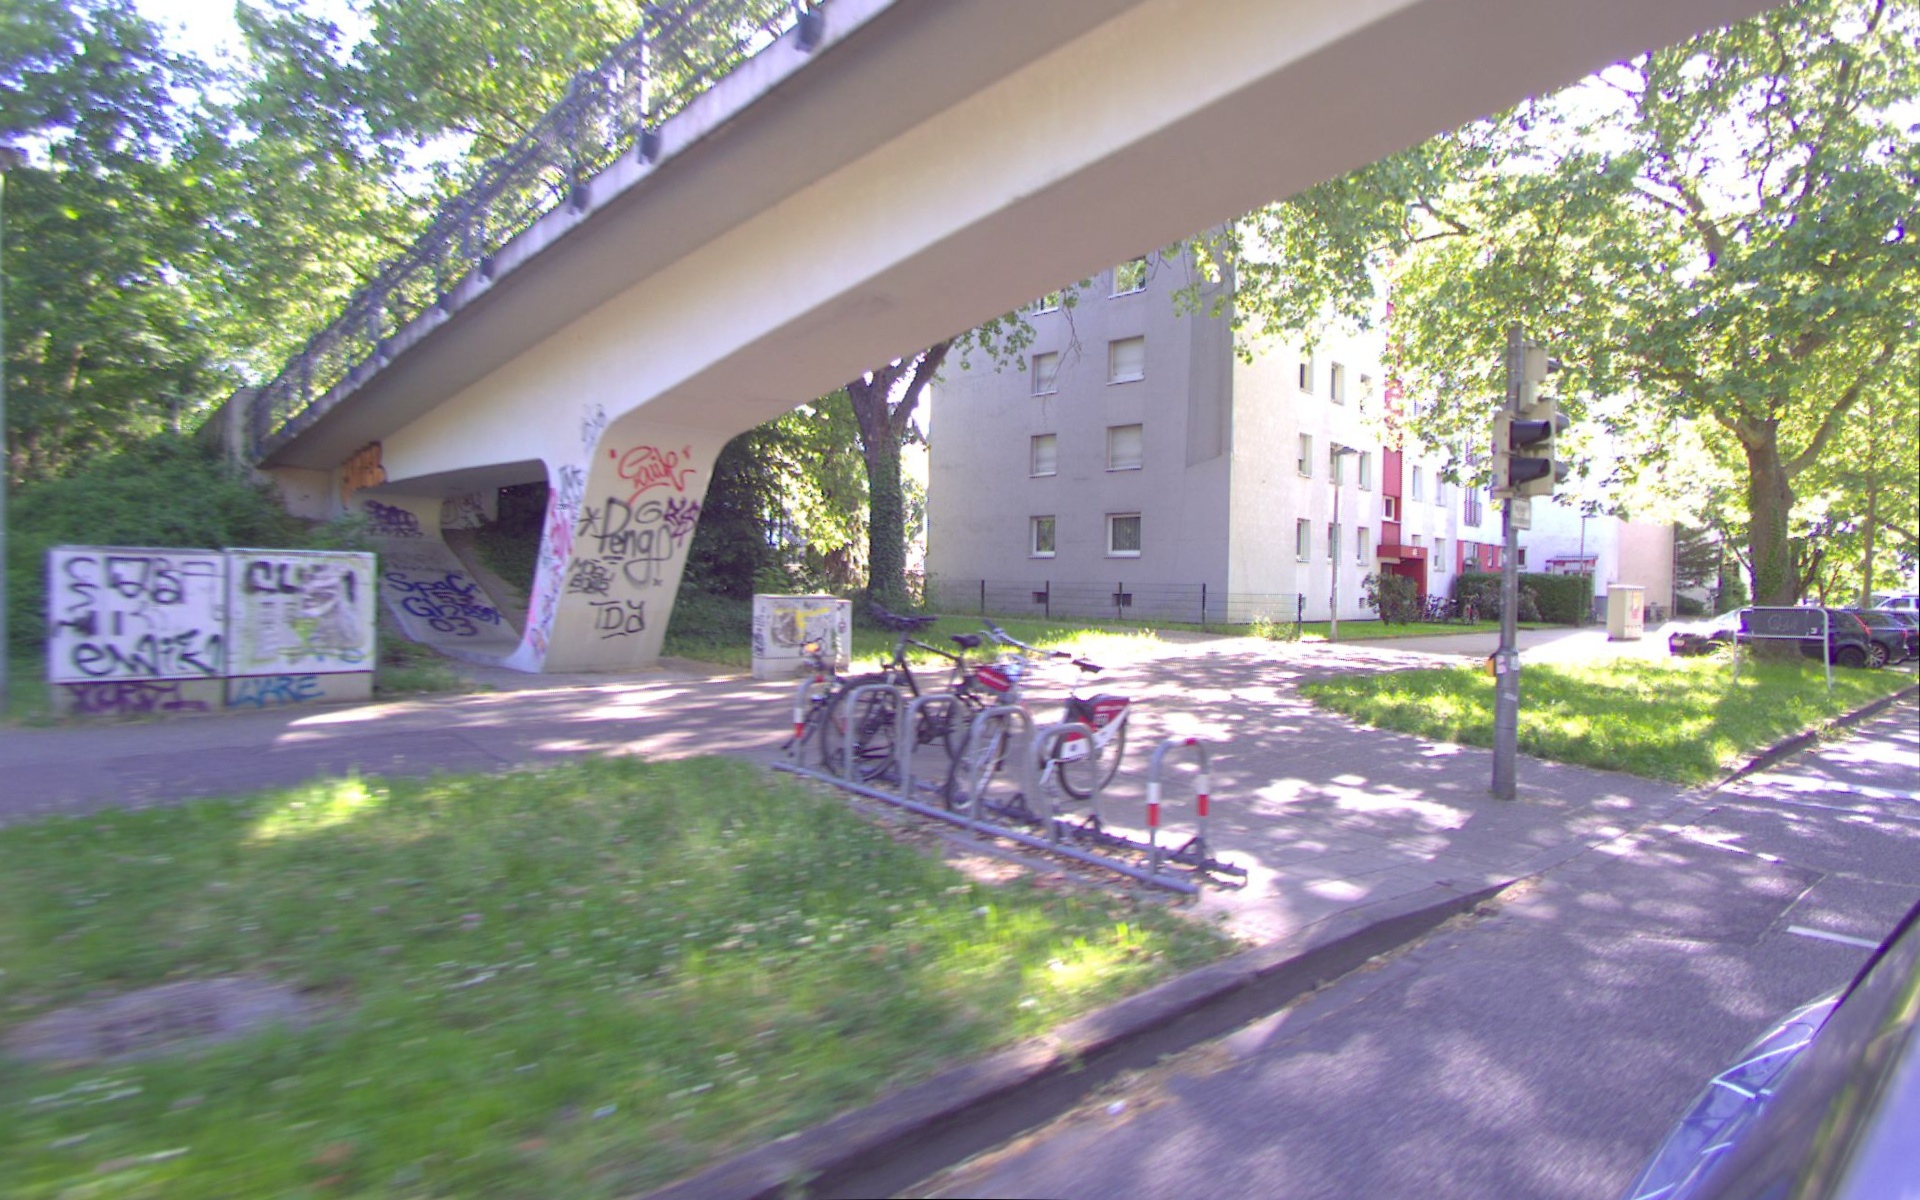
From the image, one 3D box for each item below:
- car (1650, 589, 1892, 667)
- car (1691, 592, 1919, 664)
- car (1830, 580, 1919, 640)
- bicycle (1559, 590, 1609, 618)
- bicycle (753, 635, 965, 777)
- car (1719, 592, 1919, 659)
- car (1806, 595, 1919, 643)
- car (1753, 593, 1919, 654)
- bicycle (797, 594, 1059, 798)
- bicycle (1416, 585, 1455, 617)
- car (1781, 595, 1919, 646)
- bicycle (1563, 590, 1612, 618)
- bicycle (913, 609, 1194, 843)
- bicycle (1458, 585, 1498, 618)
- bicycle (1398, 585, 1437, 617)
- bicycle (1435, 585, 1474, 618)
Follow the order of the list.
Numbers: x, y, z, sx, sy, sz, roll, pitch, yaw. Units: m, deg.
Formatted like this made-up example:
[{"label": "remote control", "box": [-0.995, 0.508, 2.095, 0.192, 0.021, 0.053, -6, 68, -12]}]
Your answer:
[{"label": "car", "box": [18.596, 0.608, 23.371, 3.930, 1.479, 1.798, 3, 2, 6]}, {"label": "car", "box": [21.152, 0.660, 25.320, 4.188, 1.479, 1.796, 3, 2, 10]}, {"label": "car", "box": [35.624, 0.422, 37.547, 4.516, 2.077, 2.012, 3, 2, 10]}, {"label": "bicycle", "box": [28.633, 0.182, 46.437, 0.541, 1.143, 1.796, 1, 4, -45]}, {"label": "bicycle", "box": [-0.695, 0.714, 7.255, 1.448, 0.862, 0.506, 1, 3, -42]}, {"label": "car", "box": [23.471, 0.663, 27.421, 4.188, 1.479, 1.795, 3, 2, 10]}, {"label": "car", "box": [32.910, 0.706, 35.547, 4.514, 1.441, 1.796, 3, 2, 9]}, {"label": "car", "box": [25.819, 0.675, 29.393, 3.932, 1.486, 1.780, 3, 2, 7]}, {"label": "bicycle", "box": [-0.174, 0.598, 6.928, 1.769, 1.197, 0.591, 1, 3, -42]}, {"label": "bicycle", "box": [17.057, 0.046, 36.269, 1.768, 1.121, 0.591, 1, 1, -41]}, {"label": "car", "box": [30.083, 0.672, 33.670, 3.857, 1.434, 1.797, 3, 2, 7]}, {"label": "bicycle", "box": [29.015, 0.169, 46.826, 0.492, 1.143, 1.796, 1, 4, -45]}, {"label": "bicycle", "box": [0.618, 0.686, 6.164, 1.769, 1.197, 0.591, 1, 3, -42]}, {"label": "bicycle", "box": [17.993, 0.053, 35.136, 1.768, 1.121, 0.591, 1, 1, -41]}, {"label": "bicycle", "box": [16.622, 0.039, 36.769, 1.768, 1.121, 0.591, 1, 1, -41]}, {"label": "bicycle", "box": [17.453, 0.047, 35.703, 1.768, 1.121, 0.591, 1, 1, -41]}]
